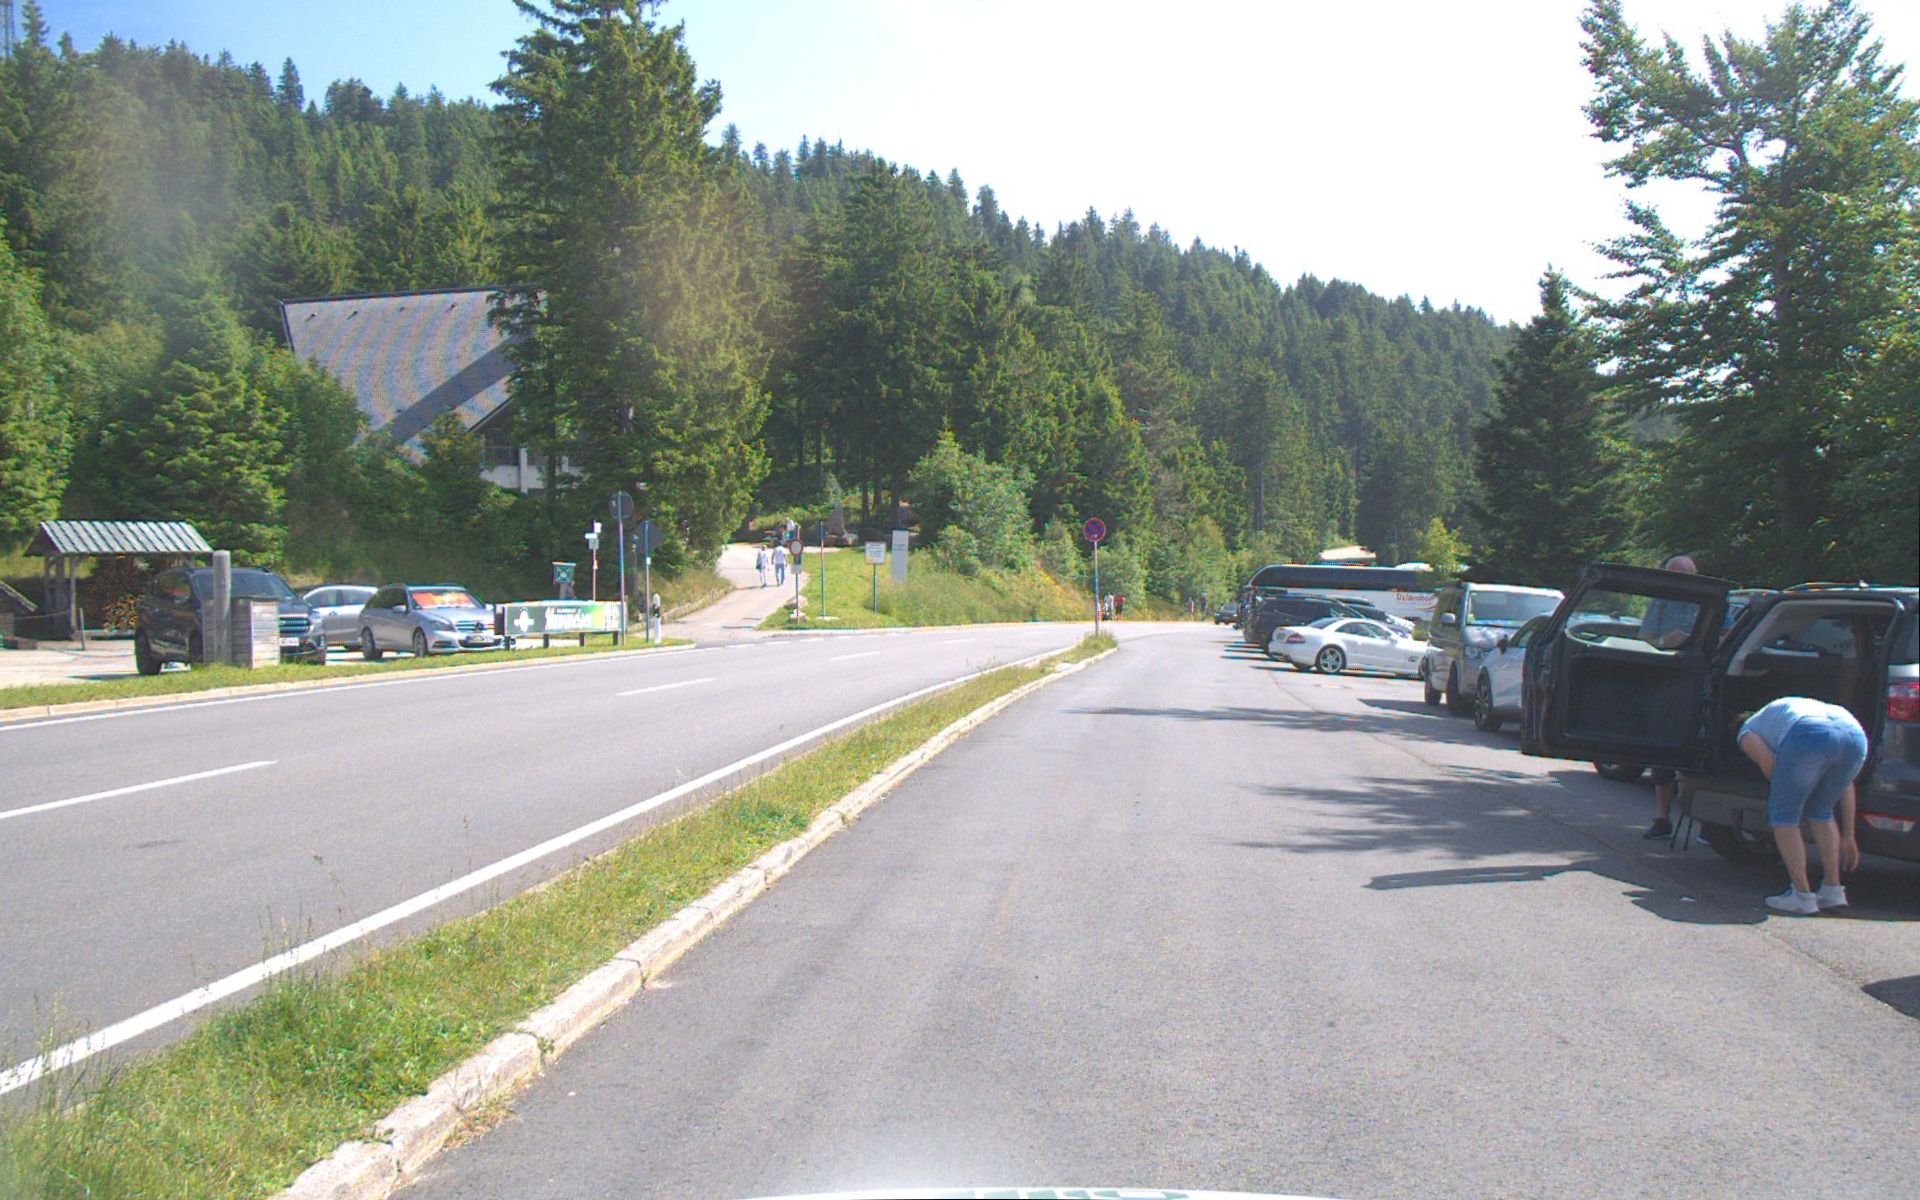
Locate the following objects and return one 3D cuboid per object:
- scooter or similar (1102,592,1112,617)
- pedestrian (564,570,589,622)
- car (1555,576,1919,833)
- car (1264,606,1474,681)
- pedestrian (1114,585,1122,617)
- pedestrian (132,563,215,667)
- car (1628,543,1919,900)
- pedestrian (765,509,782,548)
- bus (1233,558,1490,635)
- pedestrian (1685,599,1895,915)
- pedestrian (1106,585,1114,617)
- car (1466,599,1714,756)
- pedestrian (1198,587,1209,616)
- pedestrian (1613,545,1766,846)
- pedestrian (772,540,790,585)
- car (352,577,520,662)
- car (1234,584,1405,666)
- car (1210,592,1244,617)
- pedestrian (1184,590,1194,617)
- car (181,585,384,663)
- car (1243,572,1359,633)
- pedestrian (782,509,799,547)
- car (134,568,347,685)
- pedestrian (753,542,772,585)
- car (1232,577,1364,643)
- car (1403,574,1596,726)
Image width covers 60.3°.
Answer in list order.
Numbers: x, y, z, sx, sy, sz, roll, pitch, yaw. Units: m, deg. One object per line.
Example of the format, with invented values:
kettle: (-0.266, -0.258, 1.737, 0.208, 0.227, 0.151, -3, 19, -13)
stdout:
scooter or similar: (8.393, 0.260, 94.360, 0.472, 1.404, 0.818, -1, 2, 7)
pedestrian: (-11.876, -0.128, 51.208, 0.565, 1.559, 0.553, -1, 2, 7)
car: (6.341, 0.733, 13.552, 1.707, 1.660, 4.312, 4, 0, 6)
car: (9.407, 0.989, 38.124, 4.372, 1.321, 1.579, 4, 1, -9)
pedestrian: (9.055, 0.062, 94.585, 0.386, 1.777, 0.406, -1, 2, 8)
pedestrian: (-13.758, 0.256, 28.959, 0.877, 1.764, 0.961, -1, 2, 7)
car: (6.102, 0.701, 9.380, 3.929, 1.690, 1.988, 5, 0, -21)
pedestrian: (-10.001, -3.830, 88.570, 0.781, 2.048, 0.940, -1, 2, -1)
bus: (20.636, -0.282, 85.397, 12.602, 3.640, 2.981, 1, 3, 24)
pedestrian: (3.982, 0.728, 7.984, 0.757, 1.427, 0.670, -1, 2, 13)
pedestrian: (8.593, 0.059, 94.986, 0.406, 1.777, 0.457, -1, 2, 7)
car: (7.340, 0.840, 19.671, 1.644, 1.544, 4.052, 4, 0, 5)
pedestrian: (17.057, 0.098, 115.989, 0.717, 2.049, 0.863, -1, -1, 7)
pedestrian: (4.535, 0.573, 10.280, 0.627, 1.791, 0.573, 3, 0, -39)
pedestrian: (-7.268, -1.517, 67.062, 0.639, 1.830, 0.643, 0, 0, 1)
car: (-10.072, 0.351, 31.647, 1.727, 1.466, 3.914, -3, 2, -39)
car: (9.258, 0.619, 42.828, 3.906, 1.728, 2.000, 4, 2, -1)
car: (18.208, 0.288, 112.594, 1.951, 1.691, 4.003, 0, 1, 14)
pedestrian: (16.176, 0.239, 116.791, 0.609, 1.933, 0.655, -1, -1, 7)
car: (-15.334, 0.498, 37.551, 3.969, 1.520, 1.658, -2, 4, -43)
car: (12.296, 0.079, 59.868, 3.903, 1.845, 1.942, 4, 3, 9)
pedestrian: (-9.076, -3.849, 88.555, 0.798, 2.048, 0.853, -1, 2, -1)
car: (-11.195, 0.367, 25.584, 1.775, 1.662, 4.144, 0, 0, -43)
pedestrian: (-7.925, -1.454, 66.337, 0.639, 1.696, 0.643, -1, -1, 1)
car: (10.760, 0.298, 52.887, 3.903, 1.749, 1.869, 4, 2, 7)
car: (8.295, 0.685, 25.878, 1.865, 2.006, 4.823, 4, 1, 7)
